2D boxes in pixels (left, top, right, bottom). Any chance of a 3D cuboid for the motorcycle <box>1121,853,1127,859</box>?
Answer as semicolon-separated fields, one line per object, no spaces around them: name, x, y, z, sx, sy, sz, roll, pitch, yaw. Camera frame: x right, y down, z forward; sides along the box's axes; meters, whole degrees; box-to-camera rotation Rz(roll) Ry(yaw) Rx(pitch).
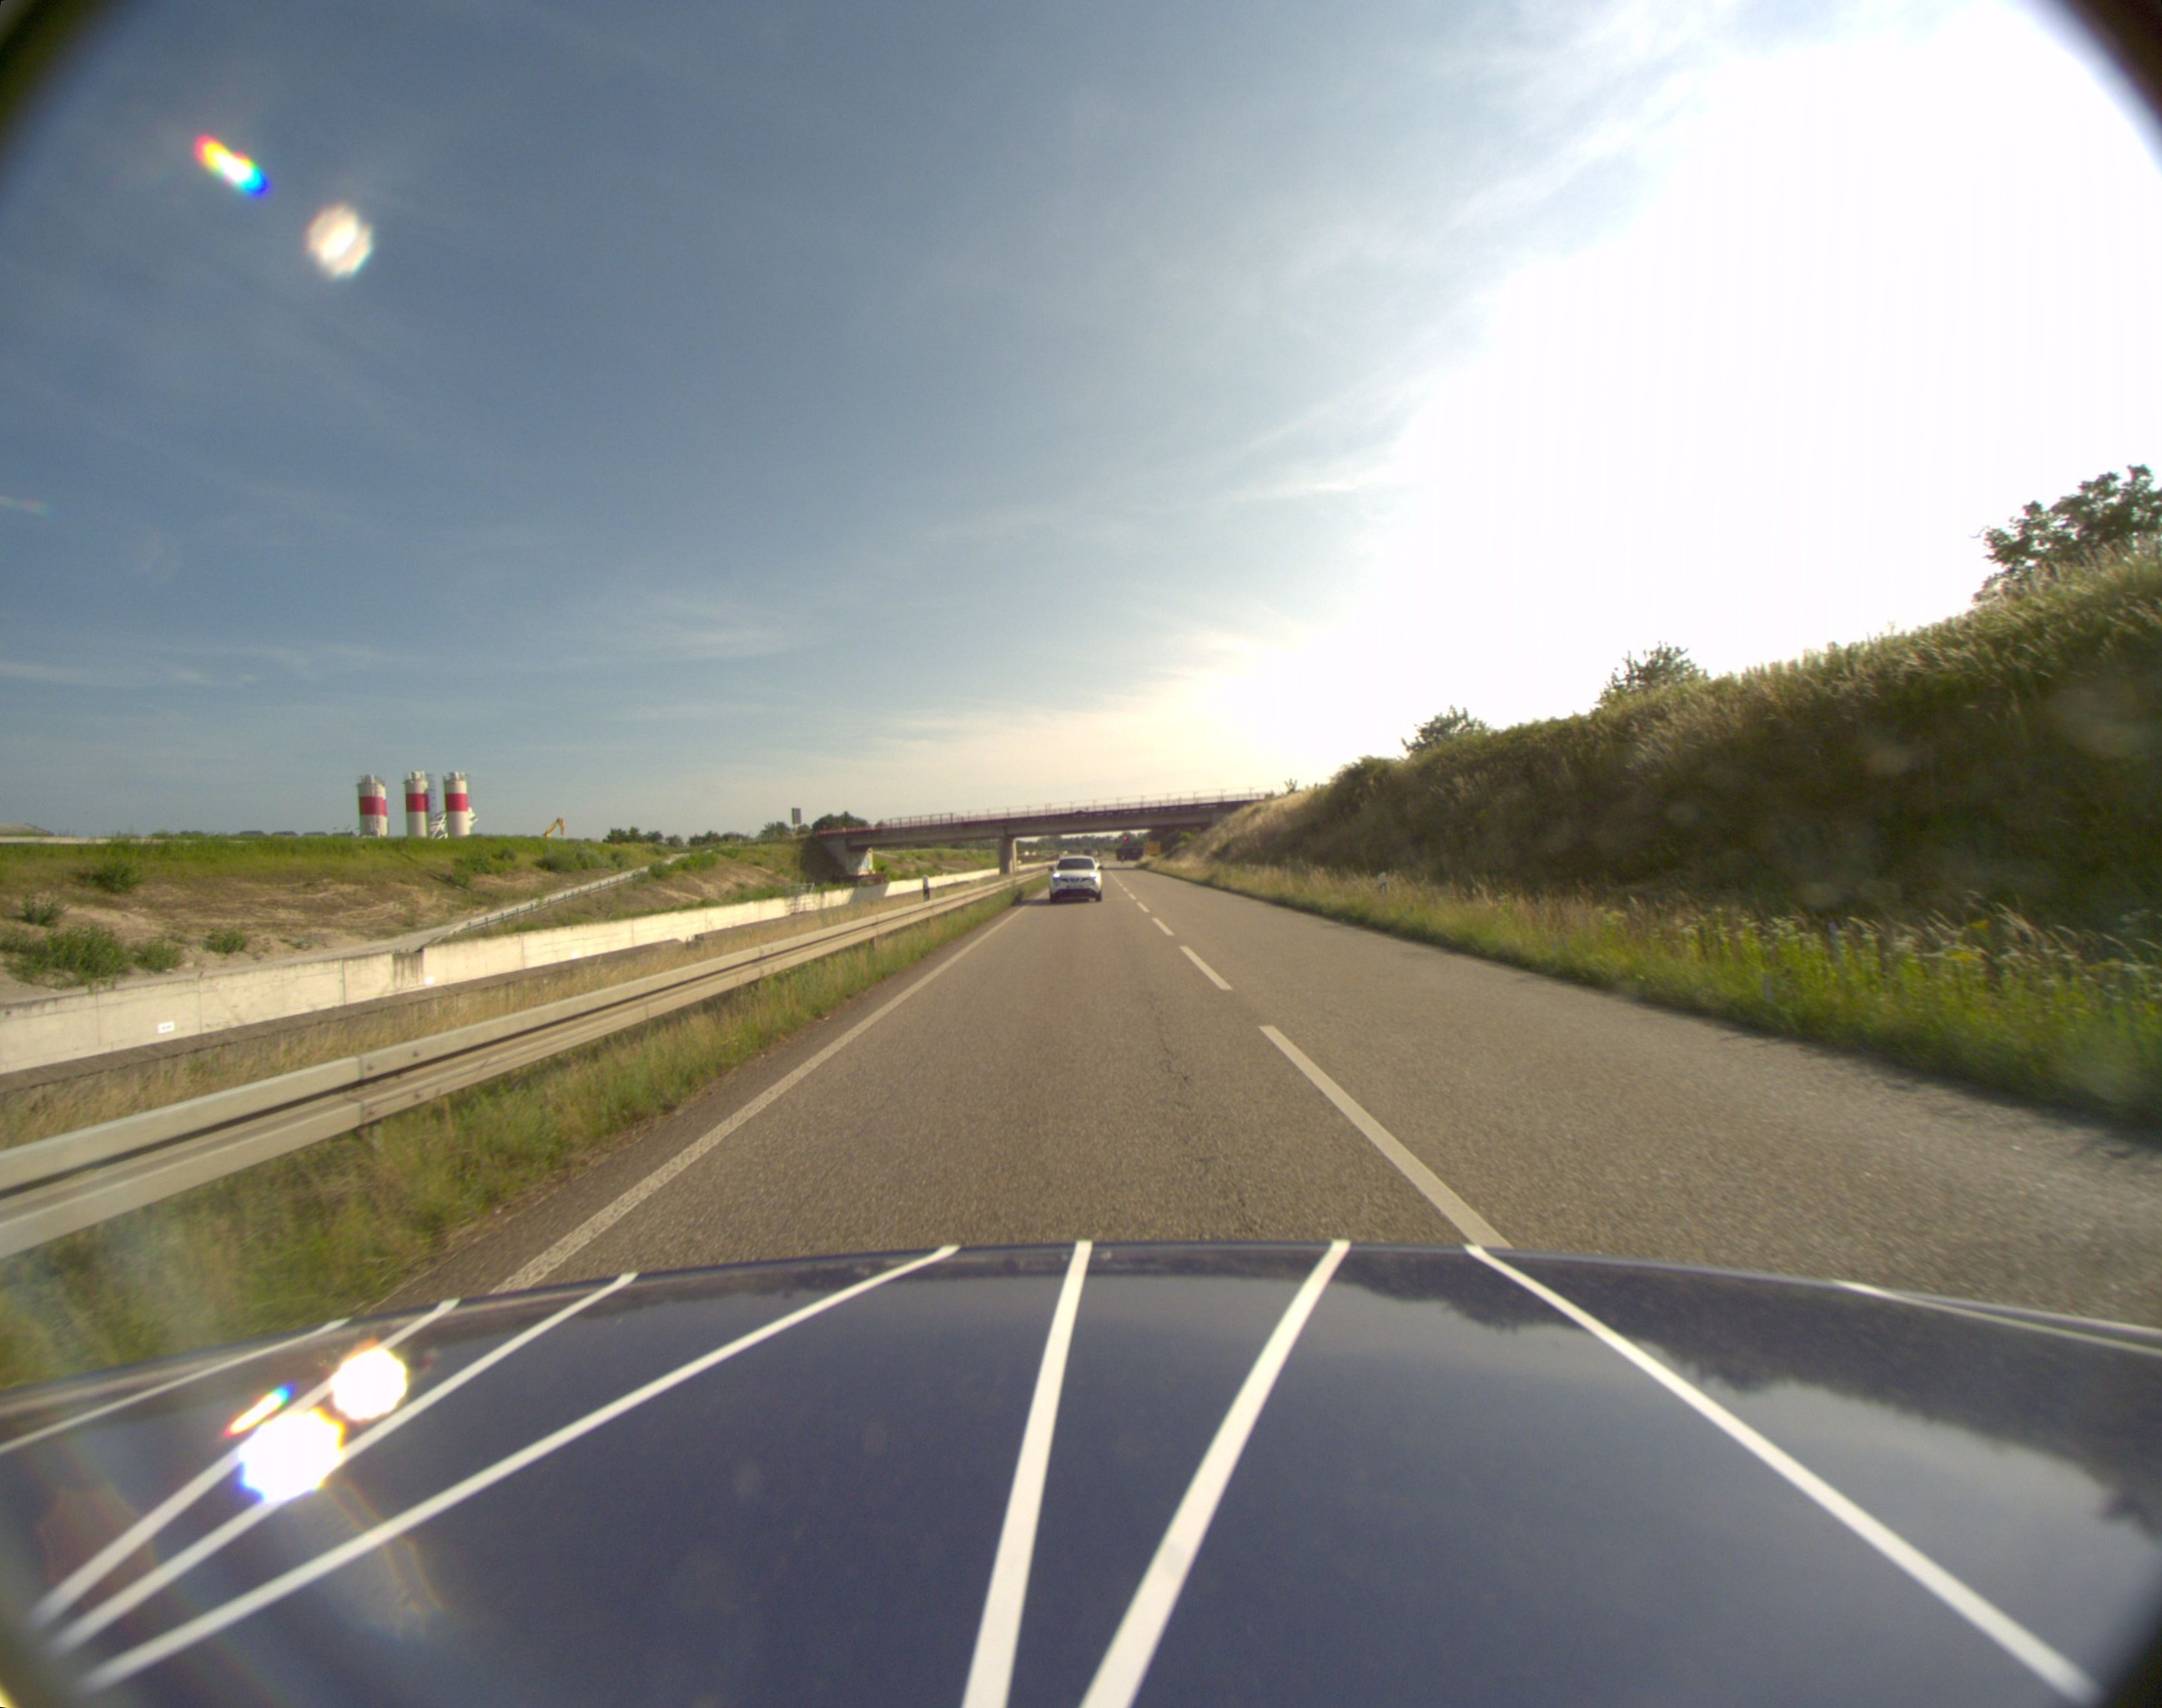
motorcycle;8.699;0.417;153.339;1.044;1.111;2.132;-1;0;0

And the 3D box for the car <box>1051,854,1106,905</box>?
car;-0.148;0.845;27.329;1.789;1.593;4.570;-2;1;-2

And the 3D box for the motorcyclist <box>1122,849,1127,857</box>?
motorcyclist;8.692;-0.183;153.327;0.881;1.443;1.284;-1;1;0

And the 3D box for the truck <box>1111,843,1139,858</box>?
truck;13.276;-0.974;229.794;3.565;4.089;8.380;-3;0;-36

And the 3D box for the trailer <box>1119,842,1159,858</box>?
trailer;16.906;-1.123;224.366;3.565;4.089;13.765;-3;0;-36

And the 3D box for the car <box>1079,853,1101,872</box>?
car;0.778;0.740;68.189;1.908;1.512;4.465;-2;0;0
